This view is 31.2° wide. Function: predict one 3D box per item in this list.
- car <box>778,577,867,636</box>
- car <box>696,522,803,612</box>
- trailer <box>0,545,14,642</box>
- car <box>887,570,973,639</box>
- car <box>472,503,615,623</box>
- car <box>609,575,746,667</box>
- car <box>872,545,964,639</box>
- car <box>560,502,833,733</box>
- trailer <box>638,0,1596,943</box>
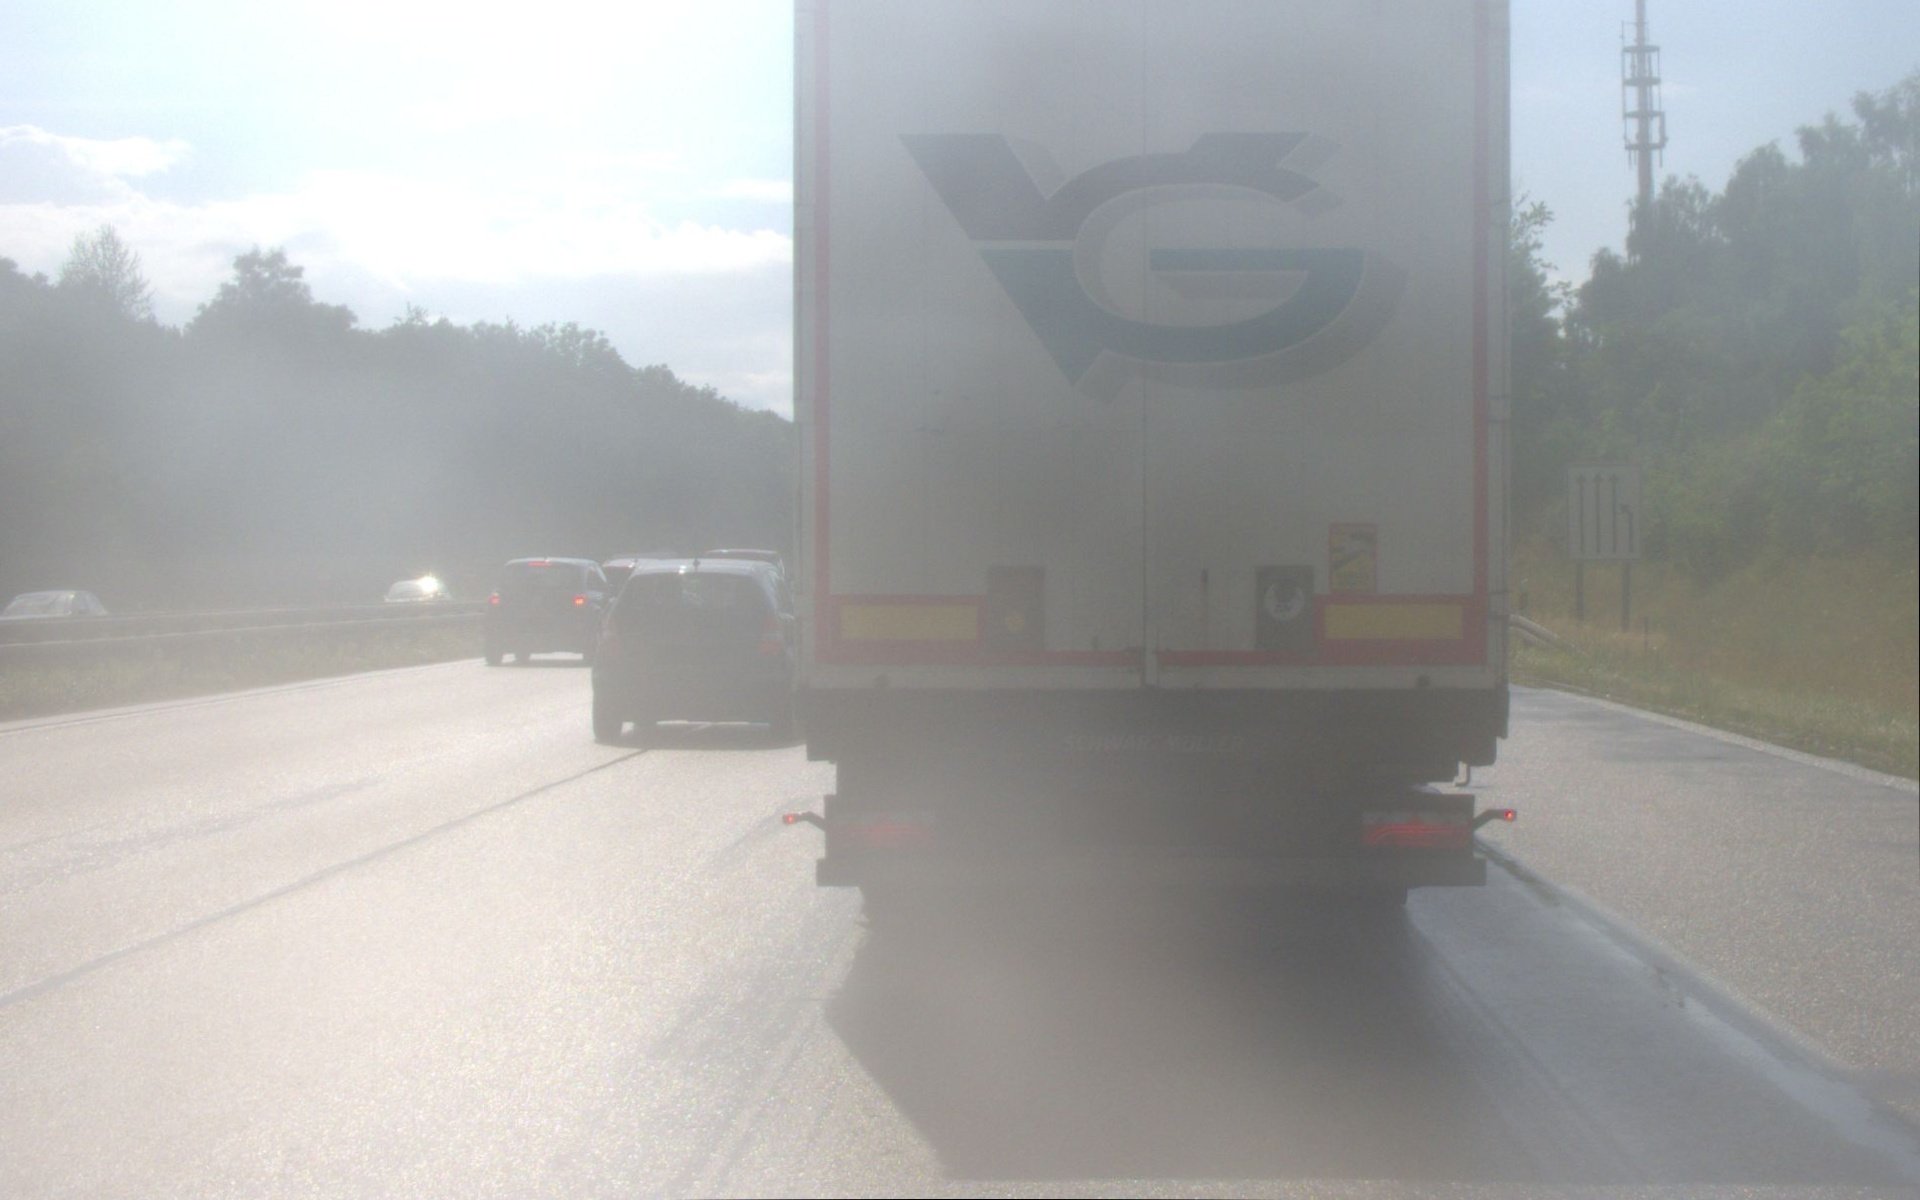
[{"bbox_3d":[-3.731,0.167,93.982,1.994,1.559,4.756,1,0,3],"label":"car"},{"bbox_3d":[-4.938,-0.769,81.335,1.979,2.047,4.756,1,0,3],"label":"car"},{"bbox_3d":[-43.430,-0.286,140.199,3.791,4.103,11.716,1,0,16],"label":"trailer"},{"bbox_3d":[-0.656,0.099,77.781,1.864,1.511,3.976,1,0,1],"label":"car"},{"bbox_3d":[-6.495,-0.566,53.963,1.692,1.798,3.976,1,0,1],"label":"car"},{"bbox_3d":[-5.268,0.376,64.645,1.909,1.631,4.616,-1,0,3],"label":"car"},{"bbox_3d":[-0.807,-0.168,68.266,1.692,1.798,3.976,1,0,1],"label":"car"},{"bbox_3d":[-2.333,0.141,31.703,2.274,1.948,4.821,1,0,-2],"label":"car"},{"bbox_3d":[0.749,-0.856,19.028,3.284,3.885,14.128,1,1,2],"label":"trailer"}]
